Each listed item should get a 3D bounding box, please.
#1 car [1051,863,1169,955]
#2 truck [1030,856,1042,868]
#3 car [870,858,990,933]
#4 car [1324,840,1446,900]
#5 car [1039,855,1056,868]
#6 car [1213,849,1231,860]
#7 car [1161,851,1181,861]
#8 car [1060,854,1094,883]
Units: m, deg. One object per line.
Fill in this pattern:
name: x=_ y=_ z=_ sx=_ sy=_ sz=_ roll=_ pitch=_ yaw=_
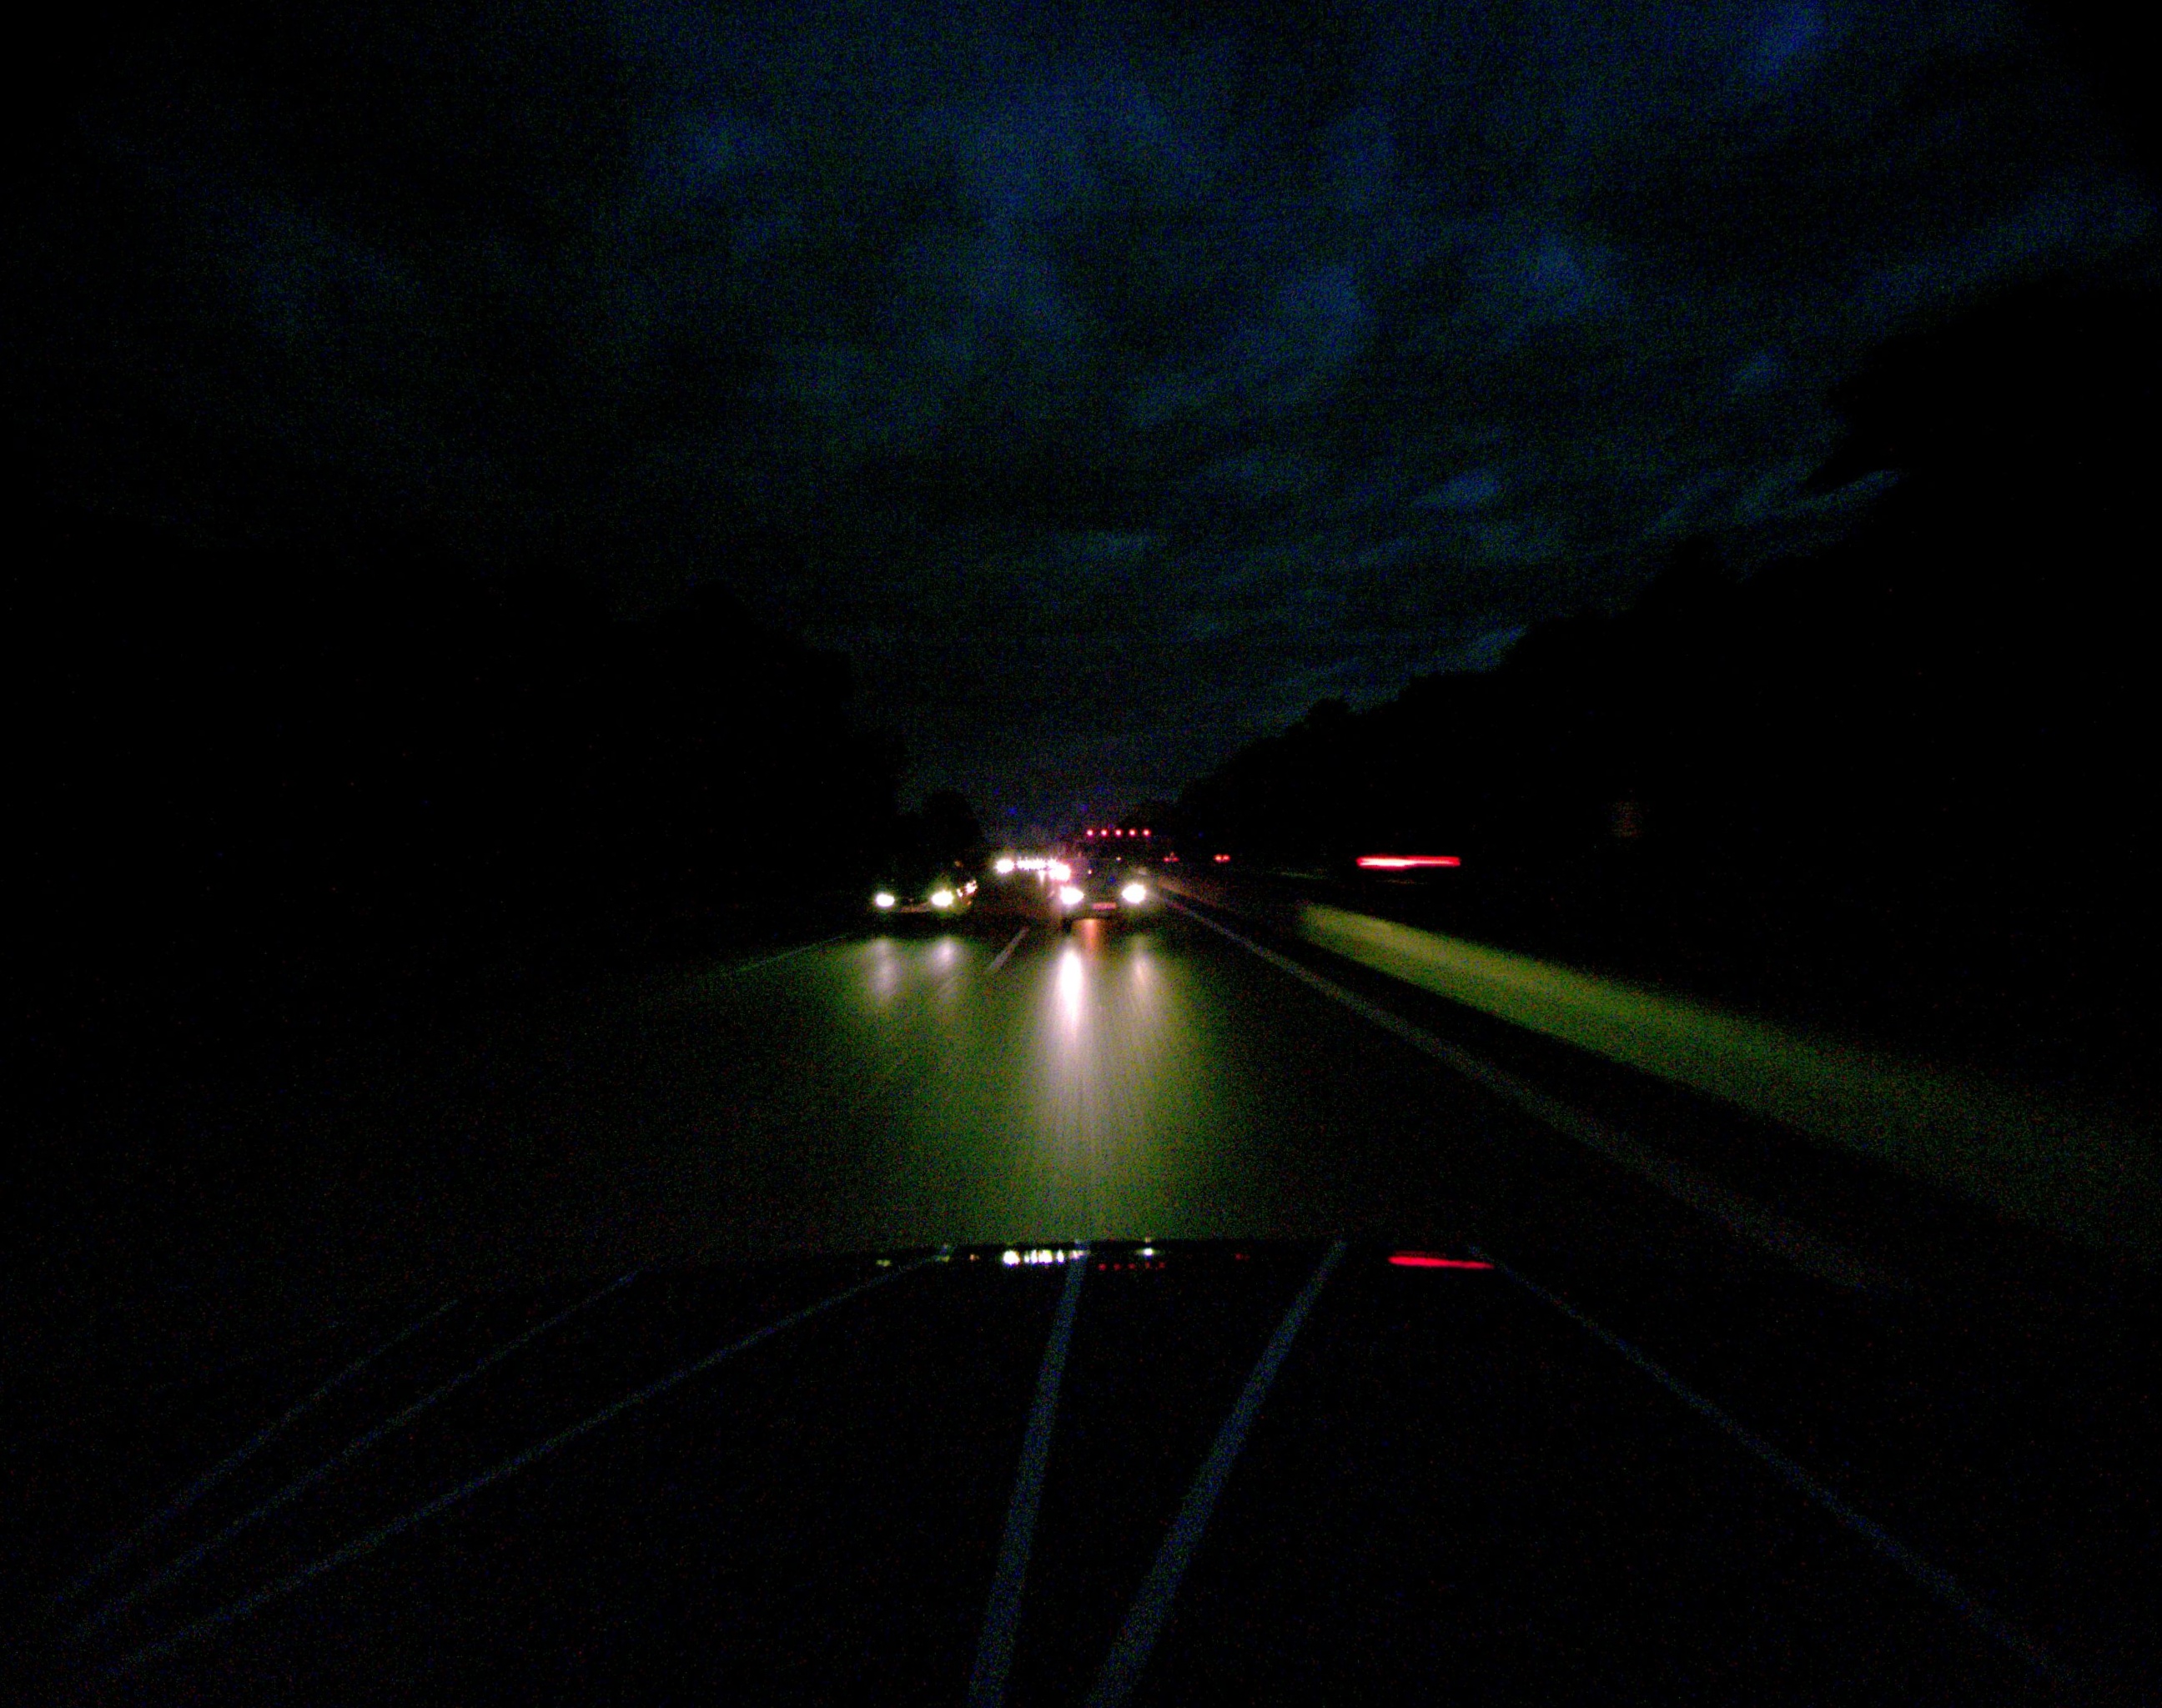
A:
car: x=0.523 y=0.926 z=14.581 sx=1.879 sy=1.435 sz=4.451 roll=-1 pitch=0 yaw=1
truck: x=-15.684 y=2.917 z=263.923 sx=3.148 sy=3.986 sz=10.537 roll=-1 pitch=-1 yaw=-10
car: x=-3.741 y=0.960 z=19.877 sx=1.914 sy=1.528 sz=5.230 roll=-1 pitch=1 yaw=2
car: x=9.369 y=0.441 z=23.930 sx=1.998 sy=1.629 sz=5.112 roll=-2 pitch=0 yaw=3
car: x=-4.339 y=0.956 z=98.292 sx=1.999 sy=1.539 sz=3.999 roll=-1 pitch=-1 yaw=-5
car: x=21.099 y=0.119 z=113.980 sx=1.847 sy=1.454 sz=4.000 roll=-3 pitch=0 yaw=-2
car: x=13.912 y=0.344 z=117.942 sx=1.848 sy=1.454 sz=4.773 roll=-3 pitch=0 yaw=-9
car: x=-0.156 y=0.803 z=44.448 sx=1.813 sy=1.457 sz=5.132 roll=-2 pitch=0 yaw=1
